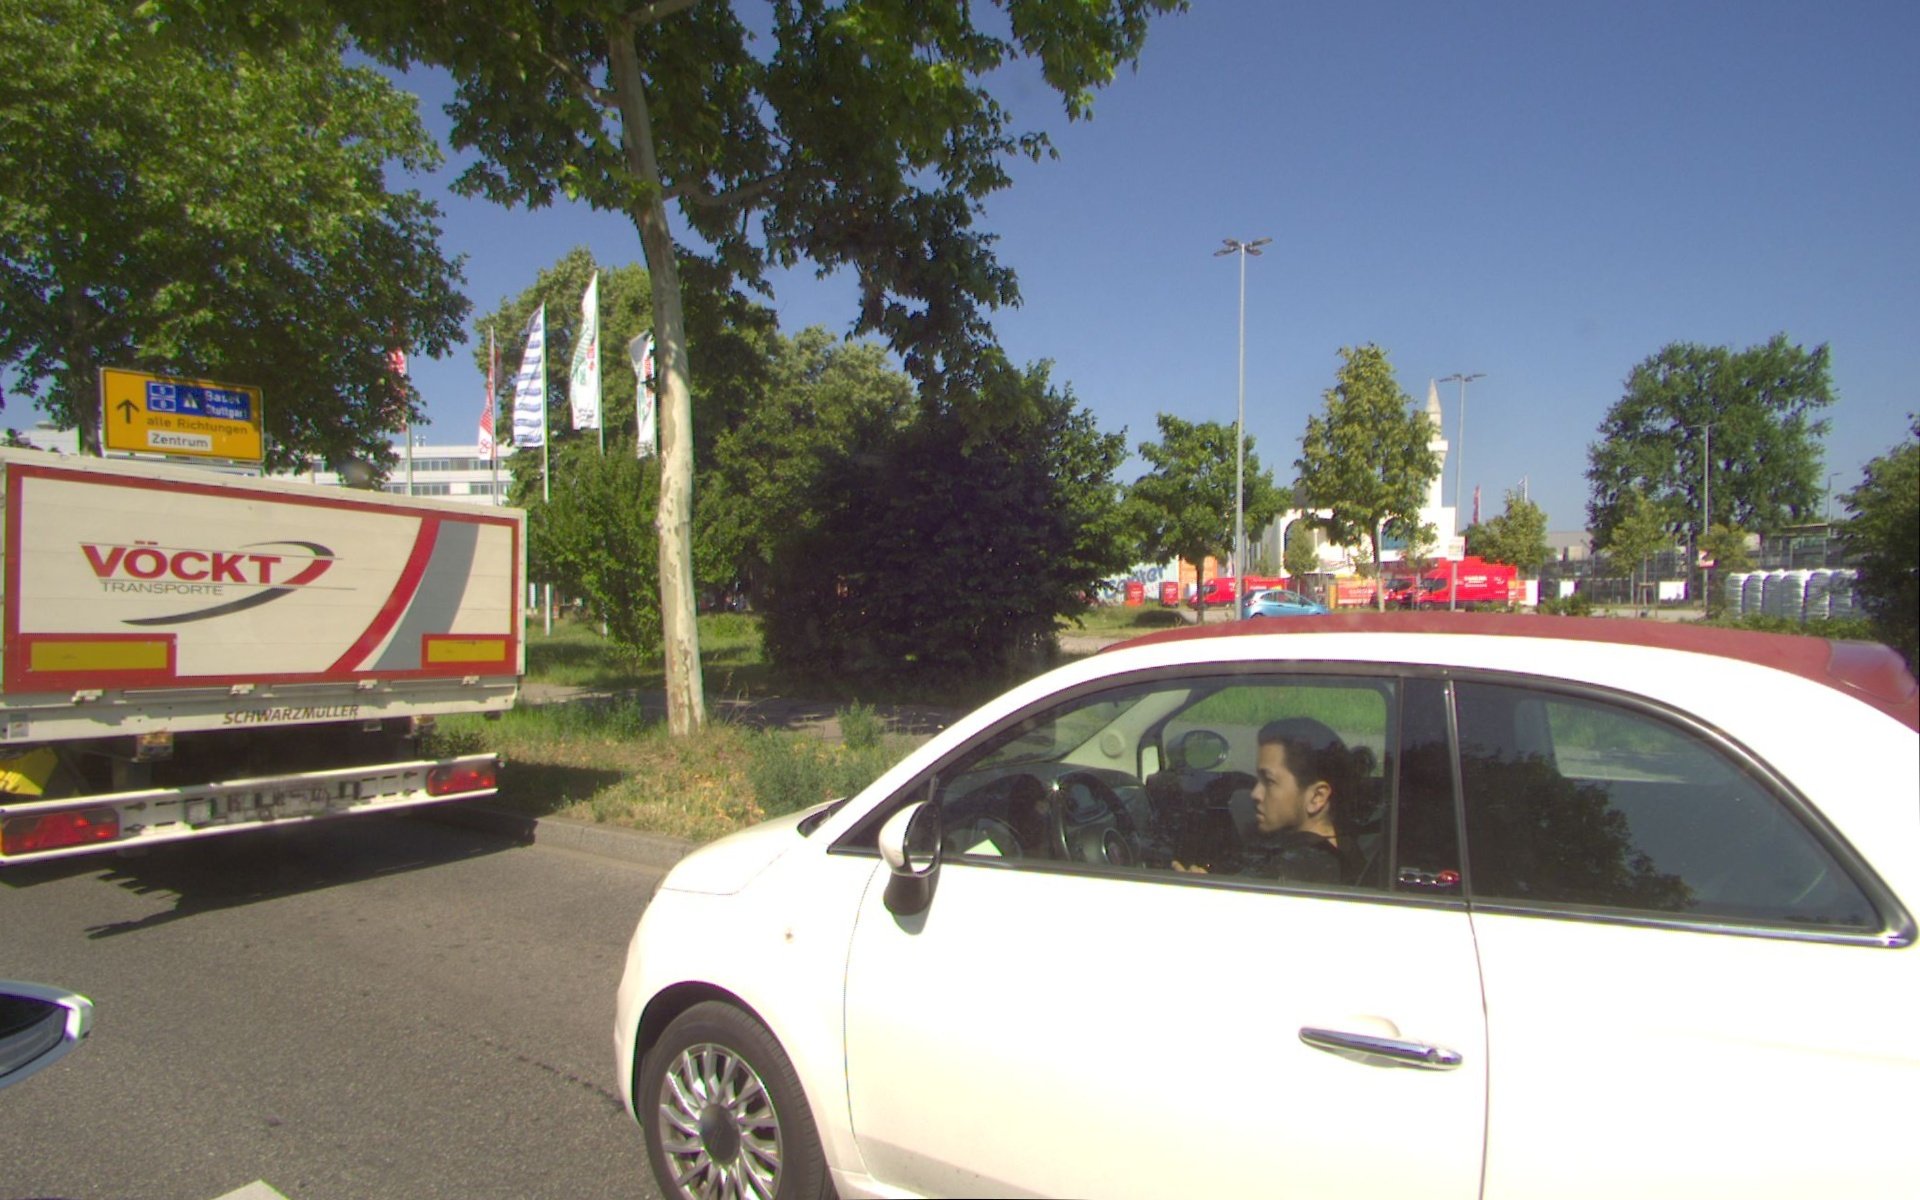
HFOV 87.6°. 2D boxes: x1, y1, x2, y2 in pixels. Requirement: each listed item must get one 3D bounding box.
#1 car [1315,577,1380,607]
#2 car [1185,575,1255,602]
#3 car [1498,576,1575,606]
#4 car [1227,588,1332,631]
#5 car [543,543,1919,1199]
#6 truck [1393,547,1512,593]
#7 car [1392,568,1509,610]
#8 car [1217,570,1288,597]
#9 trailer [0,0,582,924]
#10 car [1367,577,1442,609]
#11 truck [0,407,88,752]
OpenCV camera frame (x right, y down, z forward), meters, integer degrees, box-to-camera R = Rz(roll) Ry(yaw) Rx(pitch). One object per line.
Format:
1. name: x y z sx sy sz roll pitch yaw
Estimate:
1. car: 27.995 -0.563 72.440 3.922 2.040 2.000 0 -1 2
2. car: 21.063 -0.930 81.230 5.188 2.040 2.000 0 -1 -4
3. car: 40.885 -0.622 71.090 4.304 2.040 2.000 0 -1 -2
4. car: 12.013 0.368 37.765 3.387 1.591 1.745 0 -1 -2
5. car: 0.765 0.693 2.398 3.472 1.455 1.657 -1 -1 35
6. truck: 36.971 -2.250 75.285 8.067 3.290 2.000 0 -1 -2
7. car: 28.979 -0.641 59.292 5.823 2.371 2.115 0 -1 2
8. car: 22.017 -1.258 75.554 4.824 1.906 1.770 0 -1 2
9. trailer: -8.260 -0.445 8.475 12.070 3.789 3.009 -1 -1 34
10. car: 27.916 -0.405 62.937 3.924 1.884 1.999 -1 -1 11
11. truck: -14.094 -0.173 12.368 7.370 3.806 3.066 -1 -1 32
